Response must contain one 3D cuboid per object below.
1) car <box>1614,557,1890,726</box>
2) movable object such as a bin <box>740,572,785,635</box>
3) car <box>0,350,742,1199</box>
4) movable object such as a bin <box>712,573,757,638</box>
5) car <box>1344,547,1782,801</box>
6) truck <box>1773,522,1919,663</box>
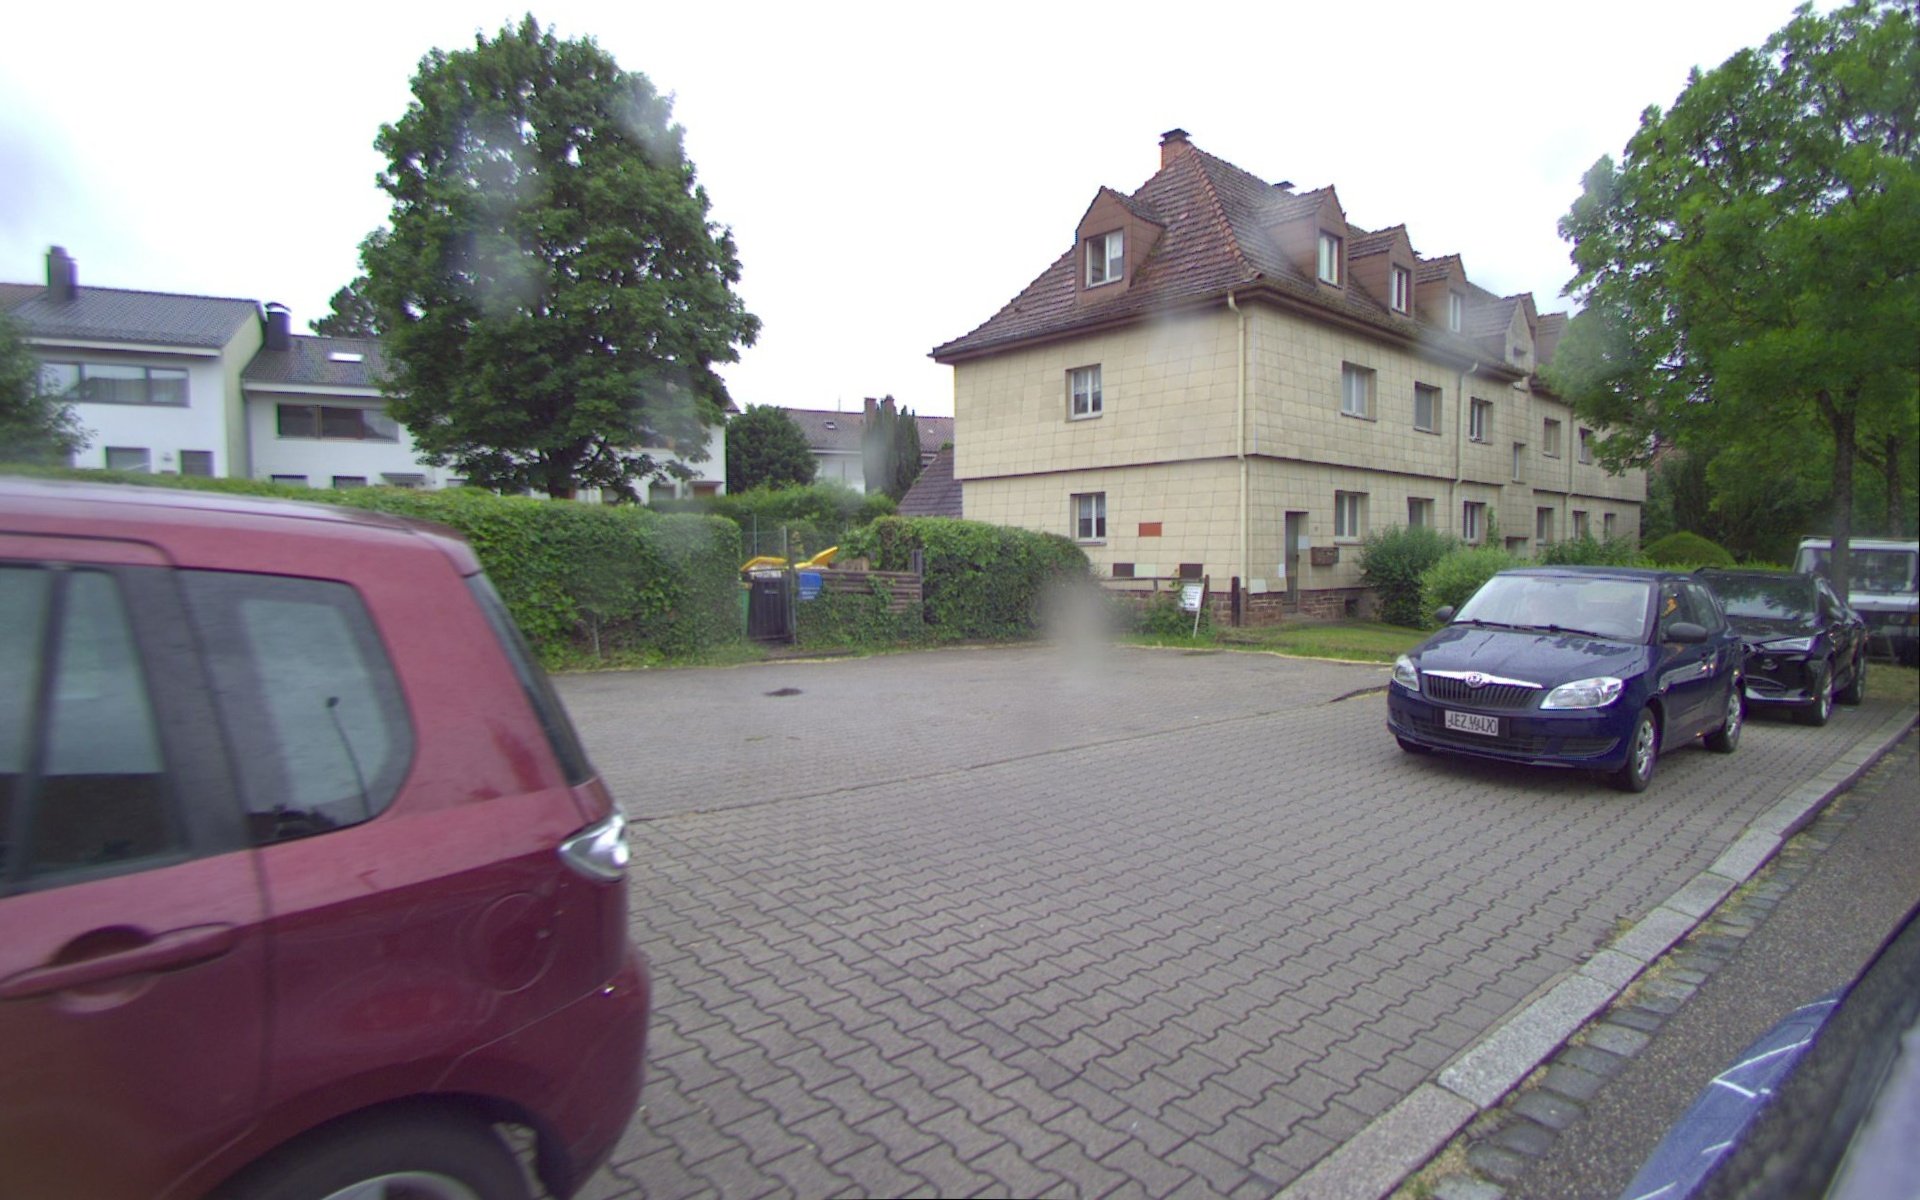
[{"bbox_3d":[8.818,0.301,11.155,3.933,1.481,1.718,-2,5,-42],"label":"car"},{"bbox_3d":[-3.056,0.043,15.671,0.441,0.954,0.539,-1,1,-45],"label":"movable object such as a bin"},{"bbox_3d":[-2.308,0.512,1.178,3.696,1.522,1.611,-4,3,-44],"label":"car"},{"bbox_3d":[-3.411,0.082,15.314,0.441,0.954,0.539,-1,1,-45],"label":"movable object such as a bin"},{"bbox_3d":[4.783,0.349,7.809,3.931,1.441,1.719,-2,5,-41],"label":"car"},{"bbox_3d":[16.705,-0.182,18.328,5.654,2.224,1.998,-1,2,-40],"label":"truck"}]
